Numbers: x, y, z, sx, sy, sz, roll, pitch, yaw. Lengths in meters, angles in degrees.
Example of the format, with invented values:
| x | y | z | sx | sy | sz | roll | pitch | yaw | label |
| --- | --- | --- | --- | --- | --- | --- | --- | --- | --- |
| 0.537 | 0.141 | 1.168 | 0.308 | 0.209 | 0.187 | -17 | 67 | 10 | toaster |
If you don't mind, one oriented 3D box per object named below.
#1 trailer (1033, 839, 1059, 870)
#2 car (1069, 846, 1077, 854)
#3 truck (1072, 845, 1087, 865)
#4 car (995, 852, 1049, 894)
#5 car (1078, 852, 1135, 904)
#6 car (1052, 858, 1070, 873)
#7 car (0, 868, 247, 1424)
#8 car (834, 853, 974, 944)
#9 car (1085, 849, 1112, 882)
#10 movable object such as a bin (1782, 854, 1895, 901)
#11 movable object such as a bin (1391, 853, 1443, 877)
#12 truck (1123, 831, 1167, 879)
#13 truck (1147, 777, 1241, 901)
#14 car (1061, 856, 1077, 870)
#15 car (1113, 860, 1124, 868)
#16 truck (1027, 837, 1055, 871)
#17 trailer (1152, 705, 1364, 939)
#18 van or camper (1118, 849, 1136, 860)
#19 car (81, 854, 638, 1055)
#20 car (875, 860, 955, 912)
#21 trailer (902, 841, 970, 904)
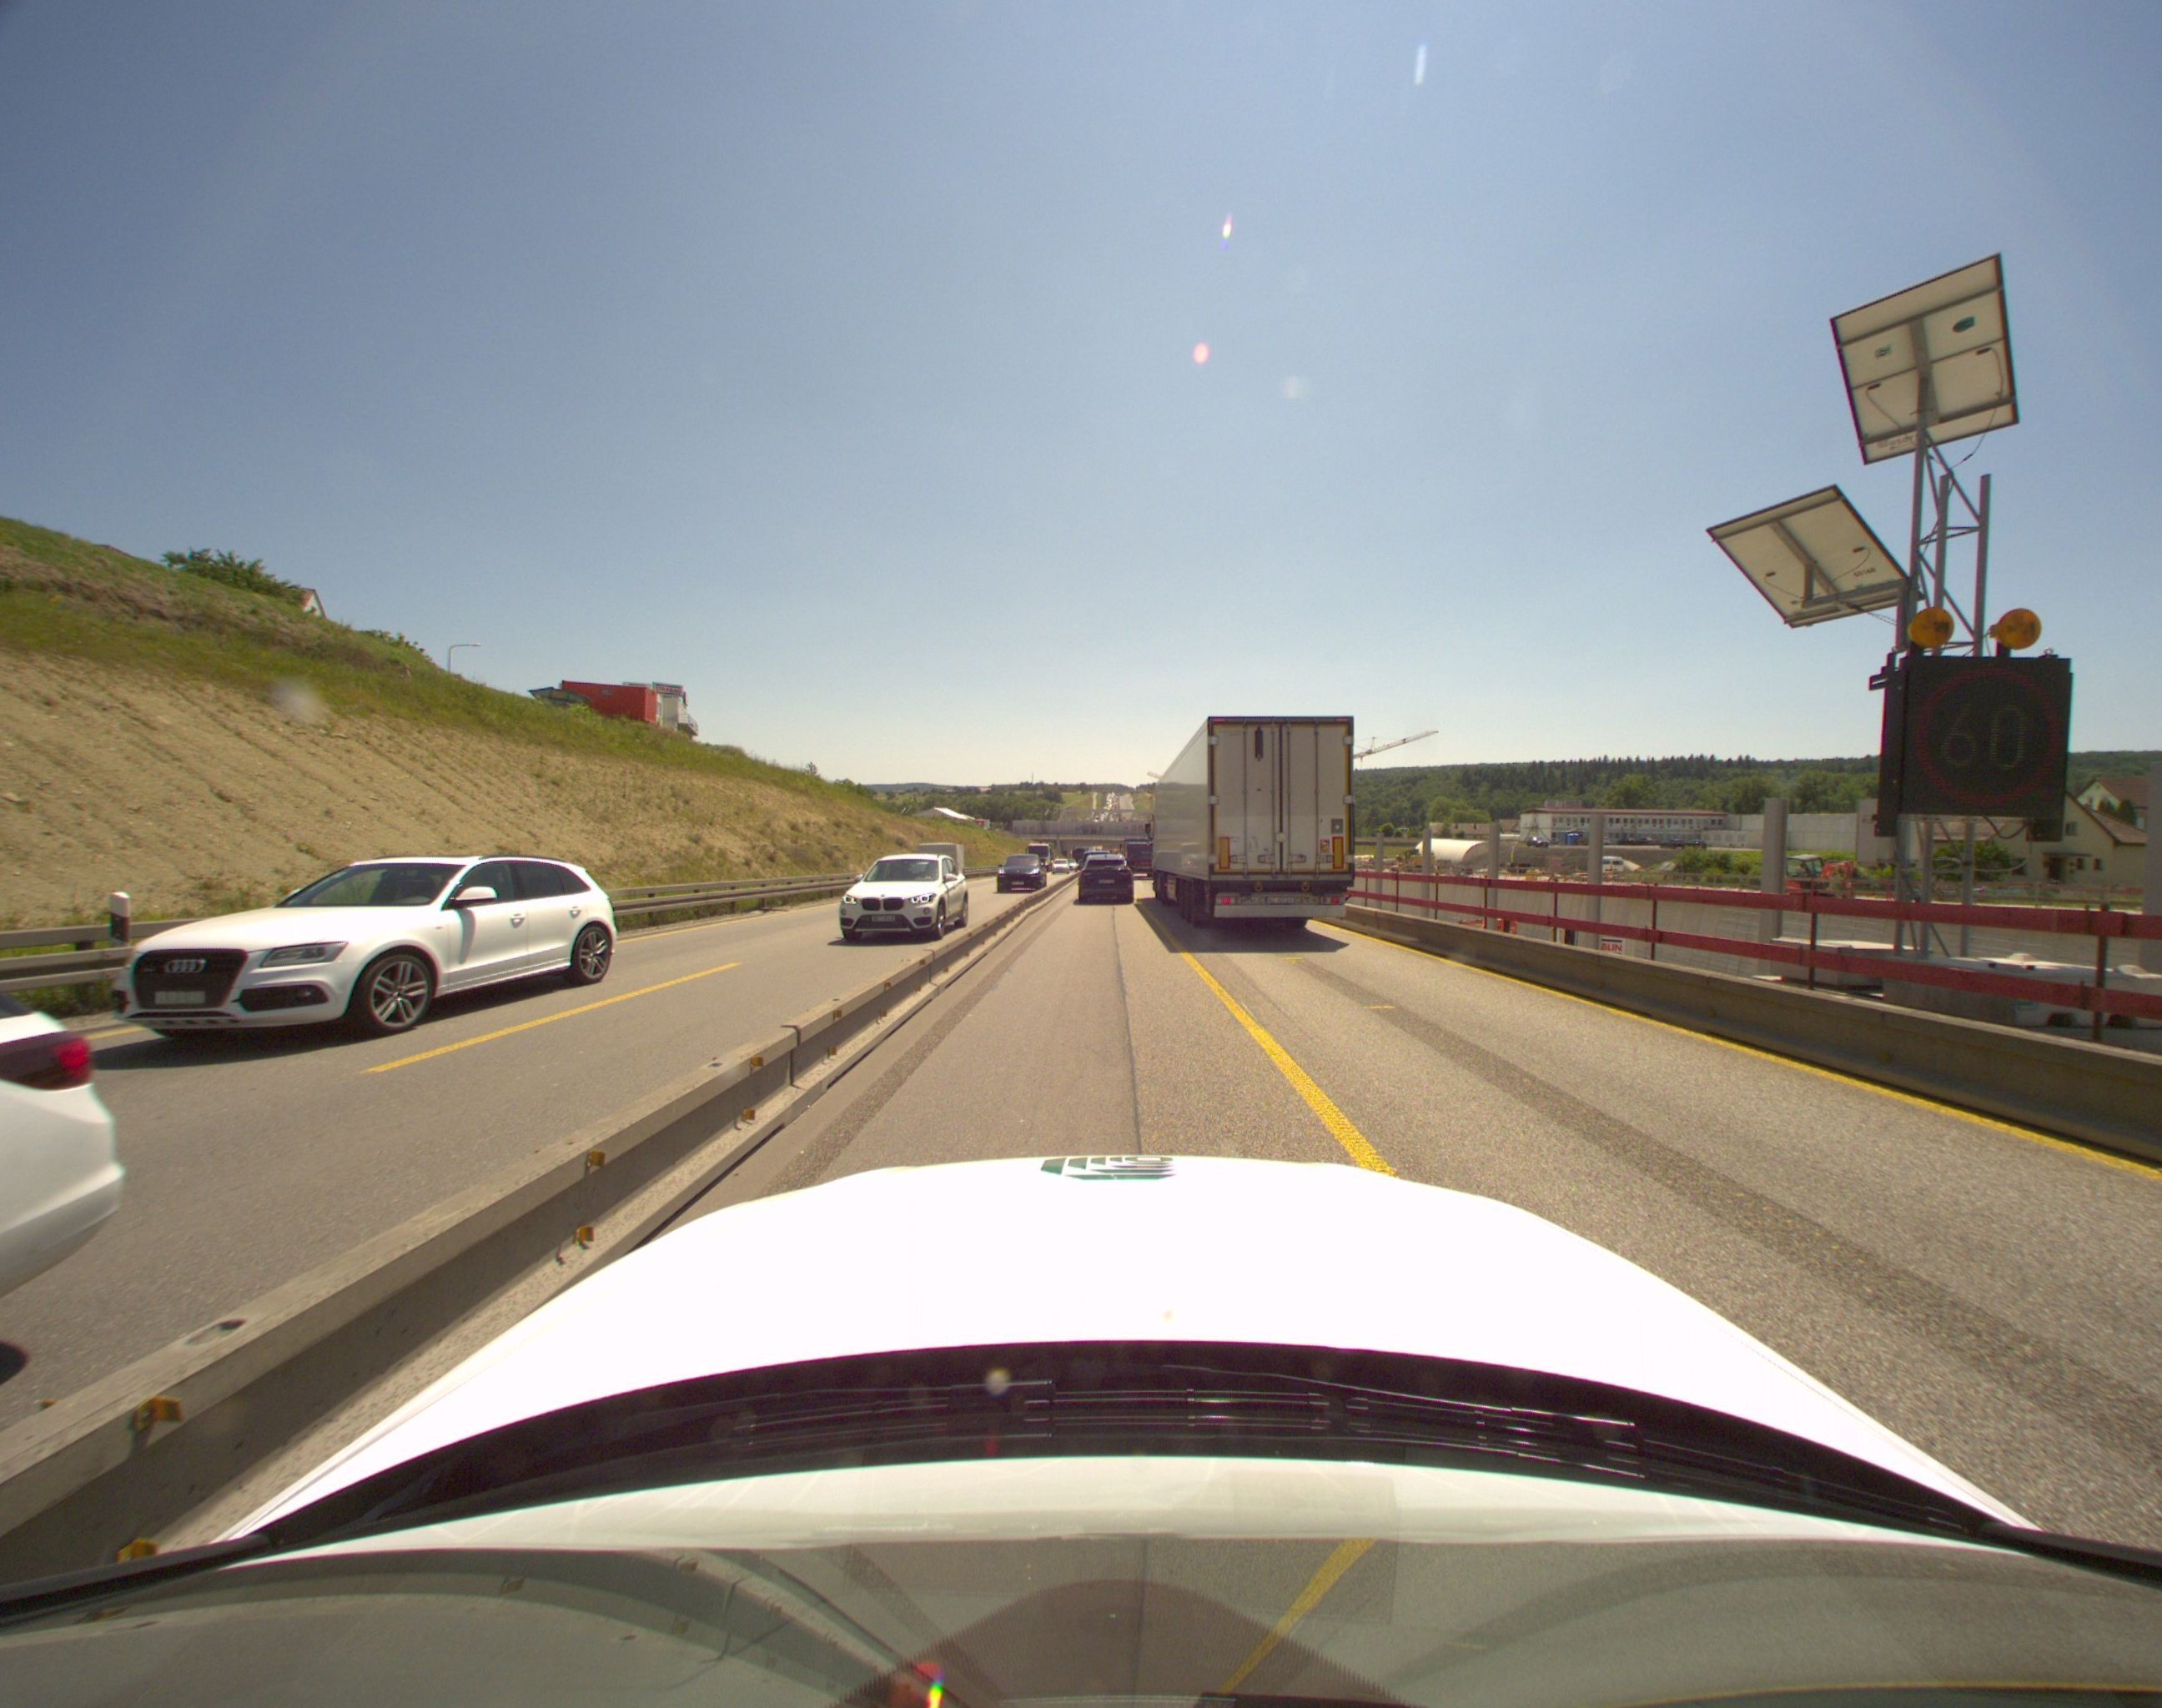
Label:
| x | y | z | sx | sy | sz | roll | pitch | yaw | label |
| --- | --- | --- | --- | --- | --- | --- | --- | --- | --- |
| -4.397 | 0.082 | 103.108 | 2.577 | 3.637 | 9.081 | -1 | 0 | 2 | trailer |
| -1.823 | -0.877 | 185.625 | 1.726 | 1.794 | 3.581 | 0 | 0 | 1 | car |
| -0.225 | 0.213 | 159.707 | 2.757 | 3.884 | 4.966 | 0 | 0 | 2 | truck |
| -2.593 | 0.811 | 36.552 | 1.883 | 1.708 | 4.564 | -1 | 0 | 2 | car |
| 0.871 | 0.745 | 27.478 | 1.794 | 1.620 | 3.299 | -1 | 0 | 2 | car |
| -1.951 | 1.128 | 79.848 | 1.679 | 1.430 | 3.293 | -1 | 0 | 1 | car |
| -3.819 | 0.788 | 0.670 | 1.800 | 1.477 | 4.281 | 0 | 0 | 1 | car |
| -3.400 | 0.784 | 16.481 | 1.809 | 1.592 | 4.290 | 0 | 0 | 1 | car |
| 1.072 | 0.656 | 47.744 | 1.469 | 1.795 | 3.299 | -2 | 0 | 2 | car |
| 38.326 | 1.133 | 41.353 | 1.986 | 2.239 | 4.154 | 0 | 0 | 2 | movable object such as a bin |
| 41.159 | 1.304 | 100.132 | 2.876 | 2.909 | 9.484 | 0 | 0 | 2 | movable object such as a bin |
| 4.568 | 0.073 | 60.262 | 2.803 | 3.135 | 12.844 | -1 | 0 | 2 | truck |
| 3.907 | -0.474 | 29.124 | 2.766 | 4.058 | 4.906 | -1 | -1 | 1 | truck |
| -1.319 | 0.994 | 91.419 | 1.679 | 1.430 | 4.122 | -1 | 0 | 1 | car |
| 6.082 | 1.661 | 131.167 | 1.533 | 1.206 | 3.310 | -1 | 0 | -1 | car |
| -4.605 | 0.031 | 95.389 | 2.577 | 3.723 | 9.335 | -1 | 0 | 2 | truck |
| 3.716 | -0.505 | 21.307 | 2.791 | 4.058 | 14.120 | -1 | 0 | 2 | trailer |
| 13.966 | 0.077 | 249.042 | 3.942 | 3.419 | 8.381 | 0 | 0 | -9 | van or camper |
| -6.966 | 0.800 | 8.739 | 1.892 | 1.584 | 4.515 | 0 | 0 | 1 | car |
| -4.988 | 0.914 | 24.946 | 1.642 | 1.415 | 3.998 | -1 | 0 | -1 | car |
| -5.025 | 0.620 | 28.717 | 1.642 | 2.025 | 4.268 | -1 | 0 | -1 | trailer |
